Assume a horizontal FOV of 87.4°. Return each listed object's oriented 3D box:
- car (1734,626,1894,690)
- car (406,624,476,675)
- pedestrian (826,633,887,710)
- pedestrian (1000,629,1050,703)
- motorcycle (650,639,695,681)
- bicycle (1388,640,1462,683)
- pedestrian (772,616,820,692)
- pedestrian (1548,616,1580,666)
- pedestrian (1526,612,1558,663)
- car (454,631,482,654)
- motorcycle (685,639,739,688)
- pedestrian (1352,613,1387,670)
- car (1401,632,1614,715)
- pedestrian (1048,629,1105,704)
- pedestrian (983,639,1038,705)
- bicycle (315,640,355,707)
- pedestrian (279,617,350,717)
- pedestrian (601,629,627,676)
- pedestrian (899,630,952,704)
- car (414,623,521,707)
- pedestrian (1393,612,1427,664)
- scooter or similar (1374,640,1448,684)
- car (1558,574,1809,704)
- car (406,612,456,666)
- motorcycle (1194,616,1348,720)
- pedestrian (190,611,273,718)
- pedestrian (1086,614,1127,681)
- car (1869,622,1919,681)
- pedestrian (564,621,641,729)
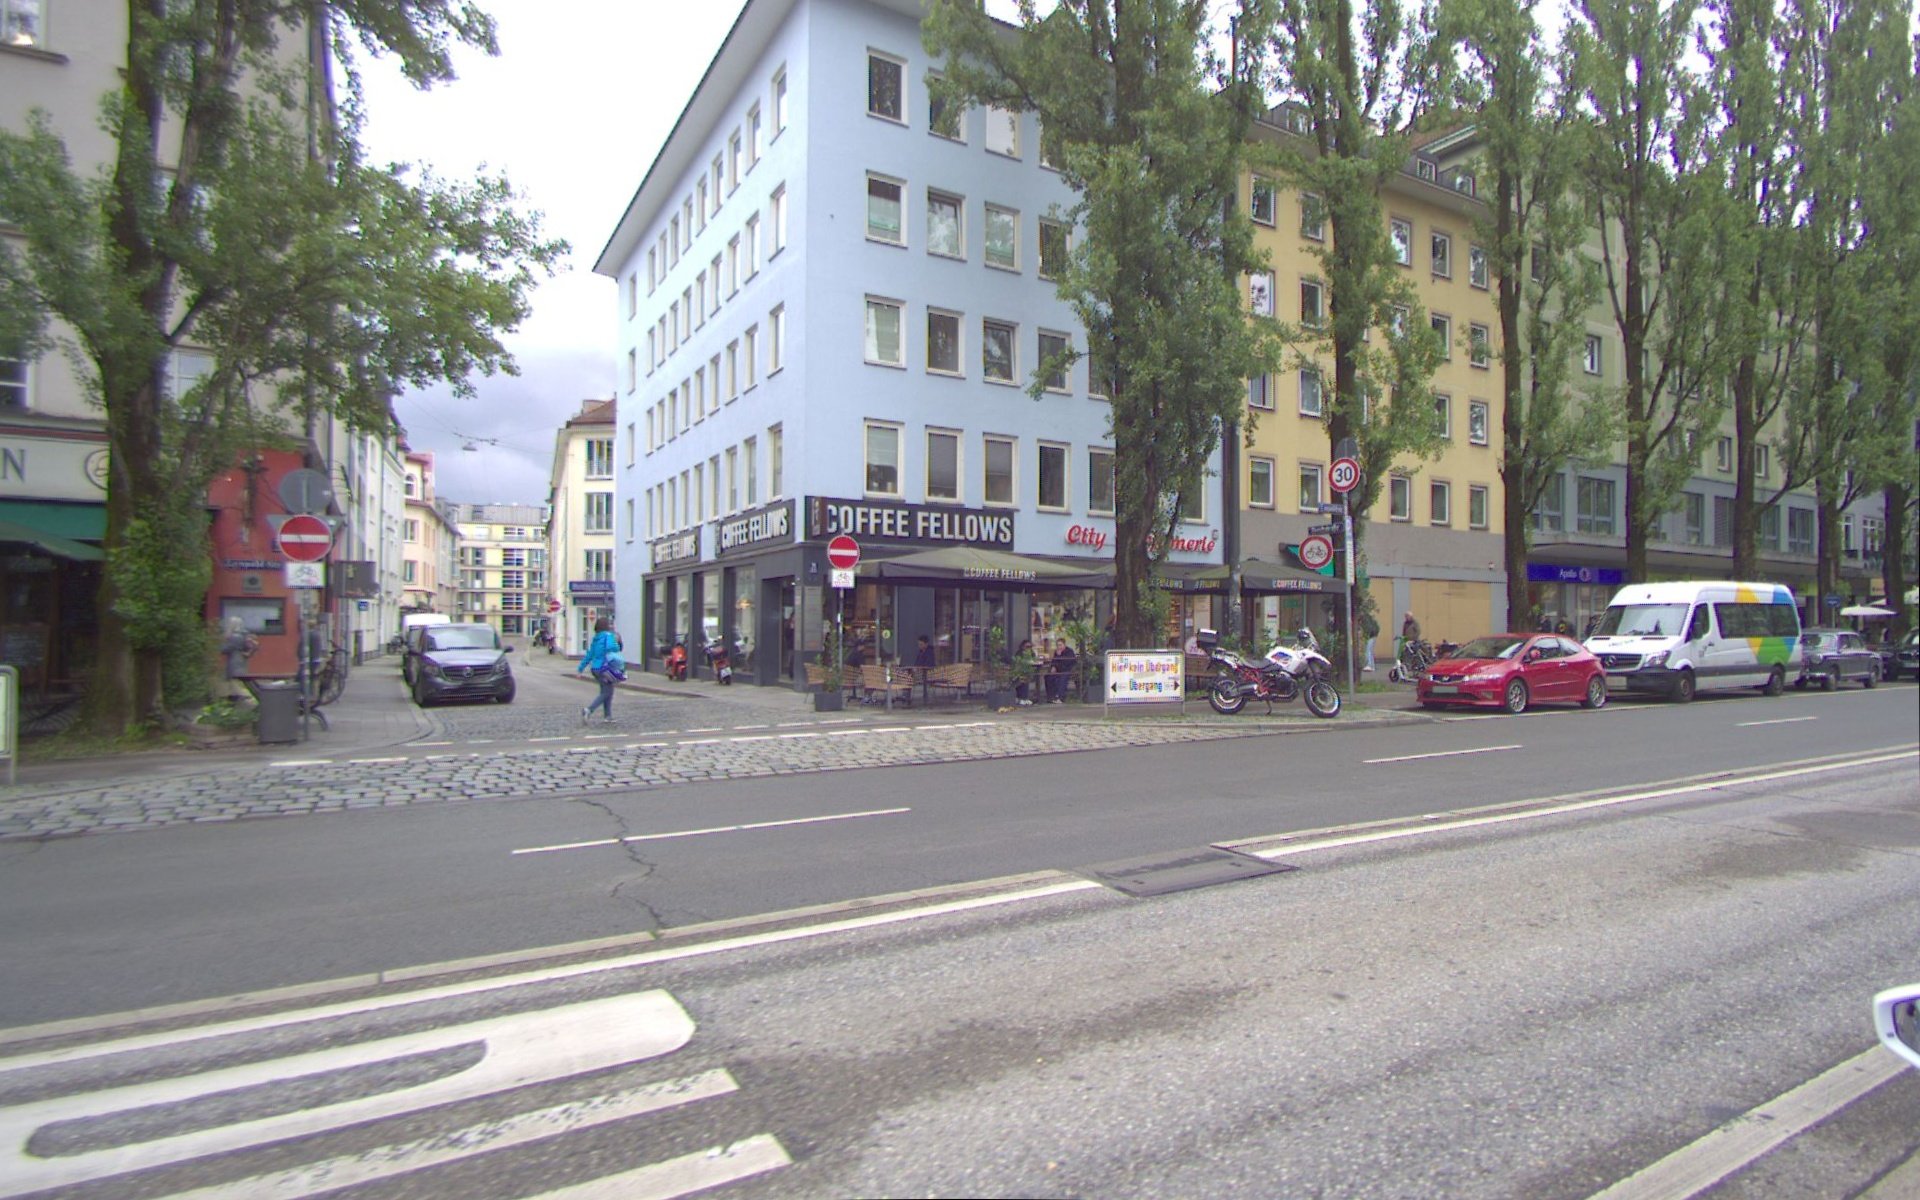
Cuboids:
[{"bbox_3d":[22.462,1.480,26.405,4.363,1.572,1.858,1,-3,-31],"label":"car"},{"bbox_3d":[-19.560,1.855,37.779,2.093,1.789,4.551,1,-3,-30],"label":"car"},{"bbox_3d":[-1.935,1.313,18.755,0.938,1.380,0.695,1,-1,-28],"label":"pedestrian"},{"bbox_3d":[1.258,1.263,19.492,0.692,1.380,0.709,1,-1,-32],"label":"pedestrian"},{"bbox_3d":[-9.017,1.855,31.420,0.729,1.219,2.748,-1,-1,-29],"label":"motorcycle"},{"bbox_3d":[11.740,1.532,25.424,0.417,1.040,1.763,1,-2,-32],"label":"bicycle"},{"bbox_3d":[-3.990,1.295,24.459,0.933,1.796,0.699,-1,-1,30],"label":"pedestrian"},{"bbox_3d":[21.333,1.435,35.468,0.717,1.722,0.695,1,-1,-26],"label":"pedestrian"},{"bbox_3d":[20.938,1.331,36.146,0.717,1.818,0.695,1,-1,-26],"label":"pedestrian"},{"bbox_3d":[-40.579,3.511,82.928,1.956,1.789,4.561,1,-3,-24],"label":"car"},{"bbox_3d":[-6.821,1.712,27.537,0.729,1.219,2.748,-1,-1,-29],"label":"motorcycle"},{"bbox_3d":[12.083,1.206,29.642,0.713,1.657,0.699,0,-1,-6],"label":"pedestrian"},{"bbox_3d":[10.525,1.349,19.252,4.100,1.438,1.729,1,-3,-31],"label":"car"},{"bbox_3d":[2.220,1.254,19.206,0.838,1.380,0.694,1,-1,-31],"label":"pedestrian"},{"bbox_3d":[0.940,1.323,18.728,0.692,1.198,0.811,1,-1,-32],"label":"pedestrian"},{"bbox_3d":[-12.486,1.431,20.092,0.638,1.220,2.328,1,-2,-31],"label":"bicycle"},{"bbox_3d":[-11.095,1.143,17.300,0.916,1.668,0.696,1,-1,-25],"label":"pedestrian"},{"bbox_3d":[-12.416,1.878,36.058,0.693,1.668,0.859,1,-1,-34],"label":"pedestrian"},{"bbox_3d":[-0.657,1.274,19.316,0.808,1.380,0.695,1,-1,-27],"label":"pedestrian"},{"bbox_3d":[-11.771,1.492,23.830,1.960,1.789,4.551,1,-3,-30],"label":"car"},{"bbox_3d":[14.518,1.219,32.433,0.718,1.657,0.695,1,-1,-28],"label":"pedestrian"},{"bbox_3d":[11.225,1.518,25.054,0.417,1.040,1.763,1,-2,-32],"label":"scooter or similar"},{"bbox_3d":[16.482,0.865,22.739,6.831,2.601,1.996,1,-3,-31],"label":"car"},{"bbox_3d":[-25.029,1.852,47.462,1.959,2.396,4.553,1,-3,-29],"label":"car"},{"bbox_3d":[4.998,1.060,16.219,2.301,1.584,0.715,1,0,18],"label":"motorcycle"},{"bbox_3d":[-11.648,1.015,16.093,0.916,1.668,0.696,1,-1,-25],"label":"pedestrian"},{"bbox_3d":[3.810,1.230,26.205,0.775,1.708,0.753,1,-1,-27],"label":"pedestrian"},{"bbox_3d":[29.728,1.535,30.489,4.557,1.686,1.858,1,-3,-31],"label":"car"},{"bbox_3d":[-5.710,1.167,16.057,0.690,1.668,0.945,-1,-2,44],"label":"pedestrian"}]
